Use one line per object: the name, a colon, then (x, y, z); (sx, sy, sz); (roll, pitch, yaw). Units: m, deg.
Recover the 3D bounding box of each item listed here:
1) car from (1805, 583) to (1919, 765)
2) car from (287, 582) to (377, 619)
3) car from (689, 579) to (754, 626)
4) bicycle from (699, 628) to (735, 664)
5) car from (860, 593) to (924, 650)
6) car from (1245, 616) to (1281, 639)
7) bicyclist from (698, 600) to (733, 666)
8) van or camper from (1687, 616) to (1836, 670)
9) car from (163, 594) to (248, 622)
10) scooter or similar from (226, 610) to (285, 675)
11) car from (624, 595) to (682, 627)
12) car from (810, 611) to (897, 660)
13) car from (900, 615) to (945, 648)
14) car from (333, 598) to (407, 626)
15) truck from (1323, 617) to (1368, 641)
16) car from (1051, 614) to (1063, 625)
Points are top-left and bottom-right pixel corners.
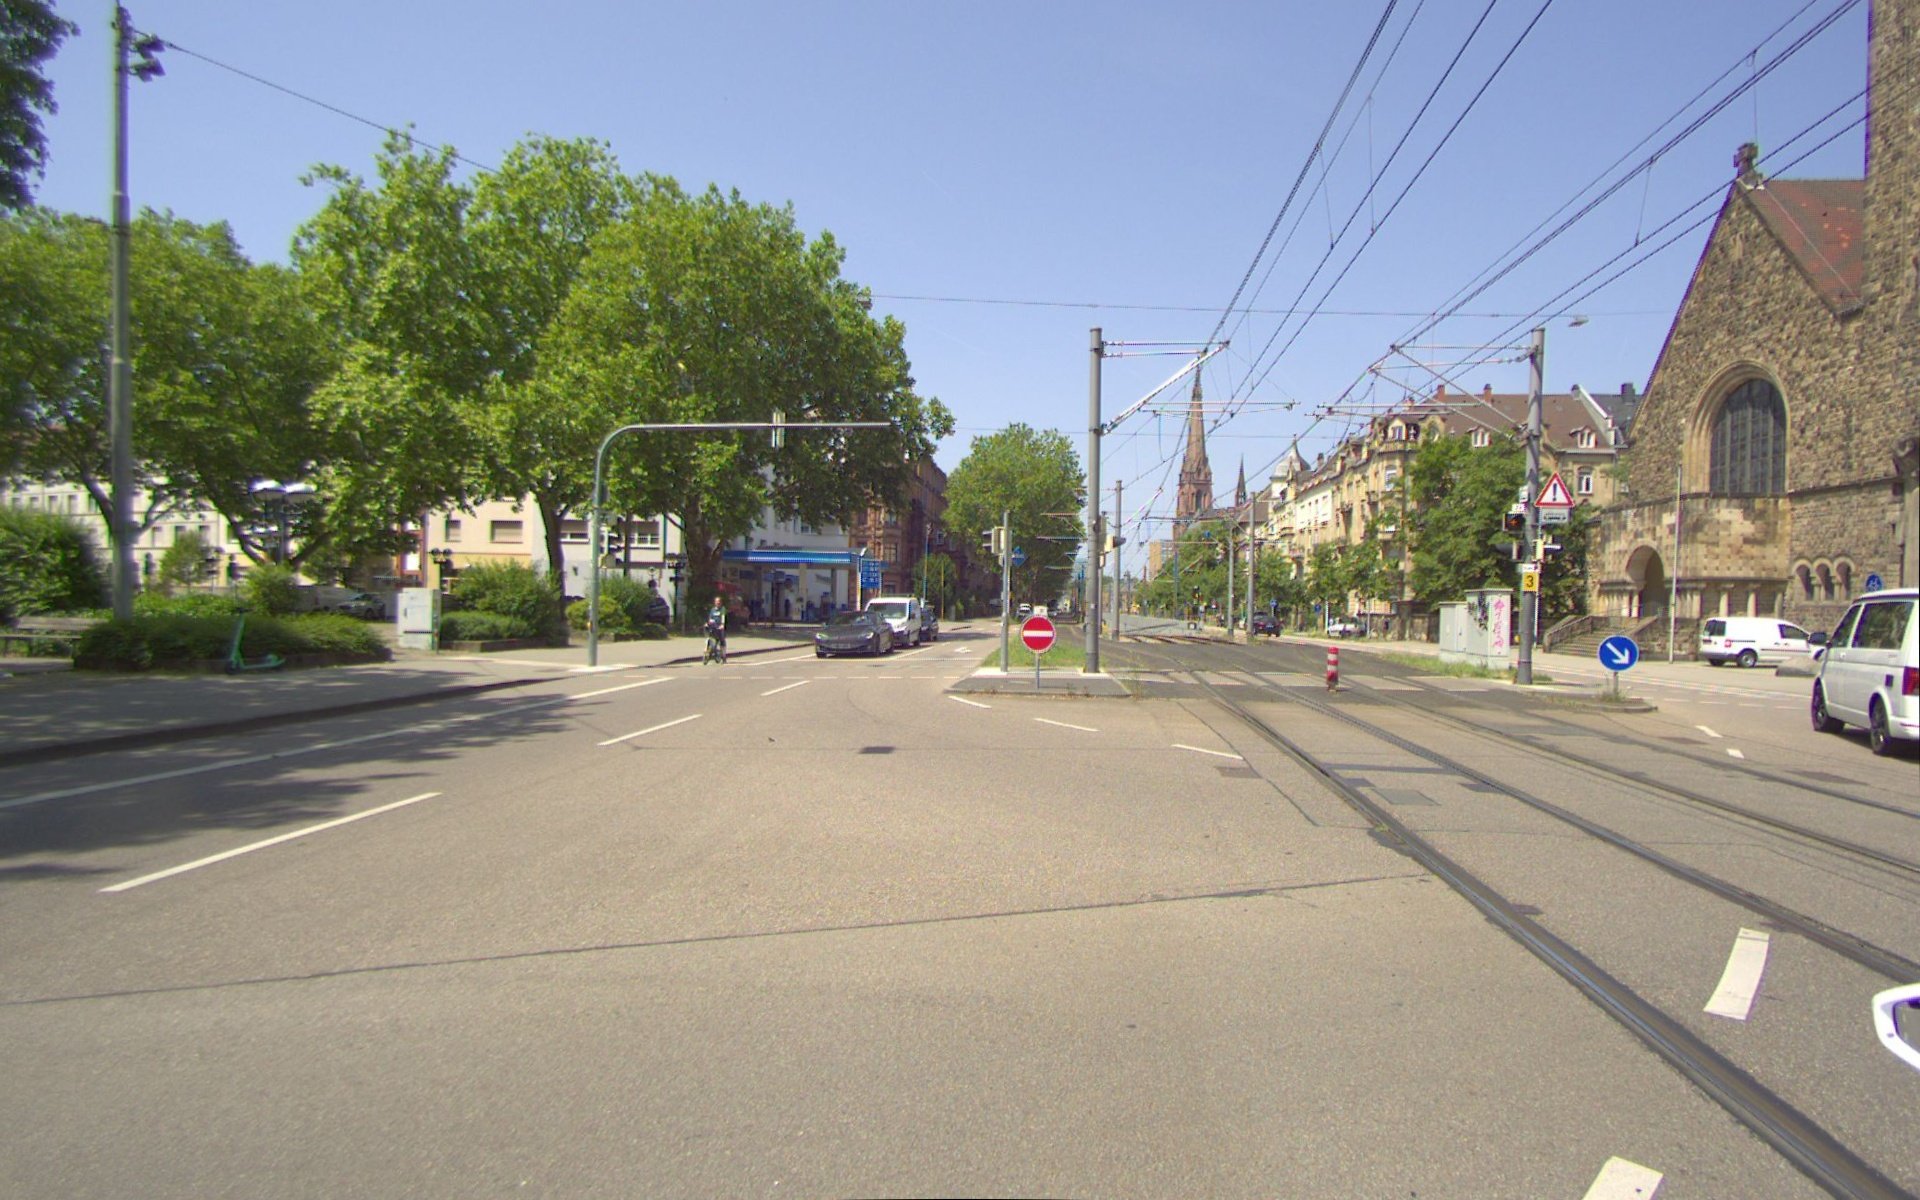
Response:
car: (12.145, 0.871, 12.384); (1.889, 1.970, 4.256); (2, 0, 30)
car: (-36.001, 0.029, 57.743); (1.885, 2.017, 5.108); (1, 0, 1)
car: (-13.078, 0.139, 55.401); (1.815, 2.424, 4.985); (1, 0, 7)
bicycle: (-6.517, 1.234, 26.969); (0.488, 0.894, 1.483); (2, 0, 3)
car: (-2.559, 0.791, 38.716); (1.747, 2.017, 4.807); (1, 0, 5)
car: (21.782, 1.952, 72.279); (1.720, 1.559, 3.760); (2, 0, 6)
bicyclist: (-6.492, 0.863, 26.728); (0.627, 1.708, 0.869); (2, 0, 3)
van or camper: (29.972, 1.583, 37.658); (3.920, 1.831, 2.001); (2, 0, 3)
car: (-42.808, 0.475, 57.073); (1.885, 1.507, 3.851); (1, 0, 1)
scooter or similar: (-12.595, 0.749, 17.966); (0.252, 1.135, 0.860); (2, 0, 18)
car: (-16.749, 0.611, 54.919); (1.554, 1.664, 3.928); (1, 0, 7)
car: (-3.308, 1.079, 32.124); (1.914, 1.377, 4.630); (1, 0, 5)
car: (-1.674, 1.403, 46.019); (1.569, 1.439, 3.784); (-1, -1, 5)
car: (-33.419, 0.655, 57.038); (1.885, 1.507, 3.851); (1, 0, 1)
truck: (26.770, 1.968, 69.859); (1.759, 1.546, 4.467); (1, 0, 5)
car: (15.247, 3.044, 158.429); (1.815, 1.647, 4.605); (0, -1, 7)
